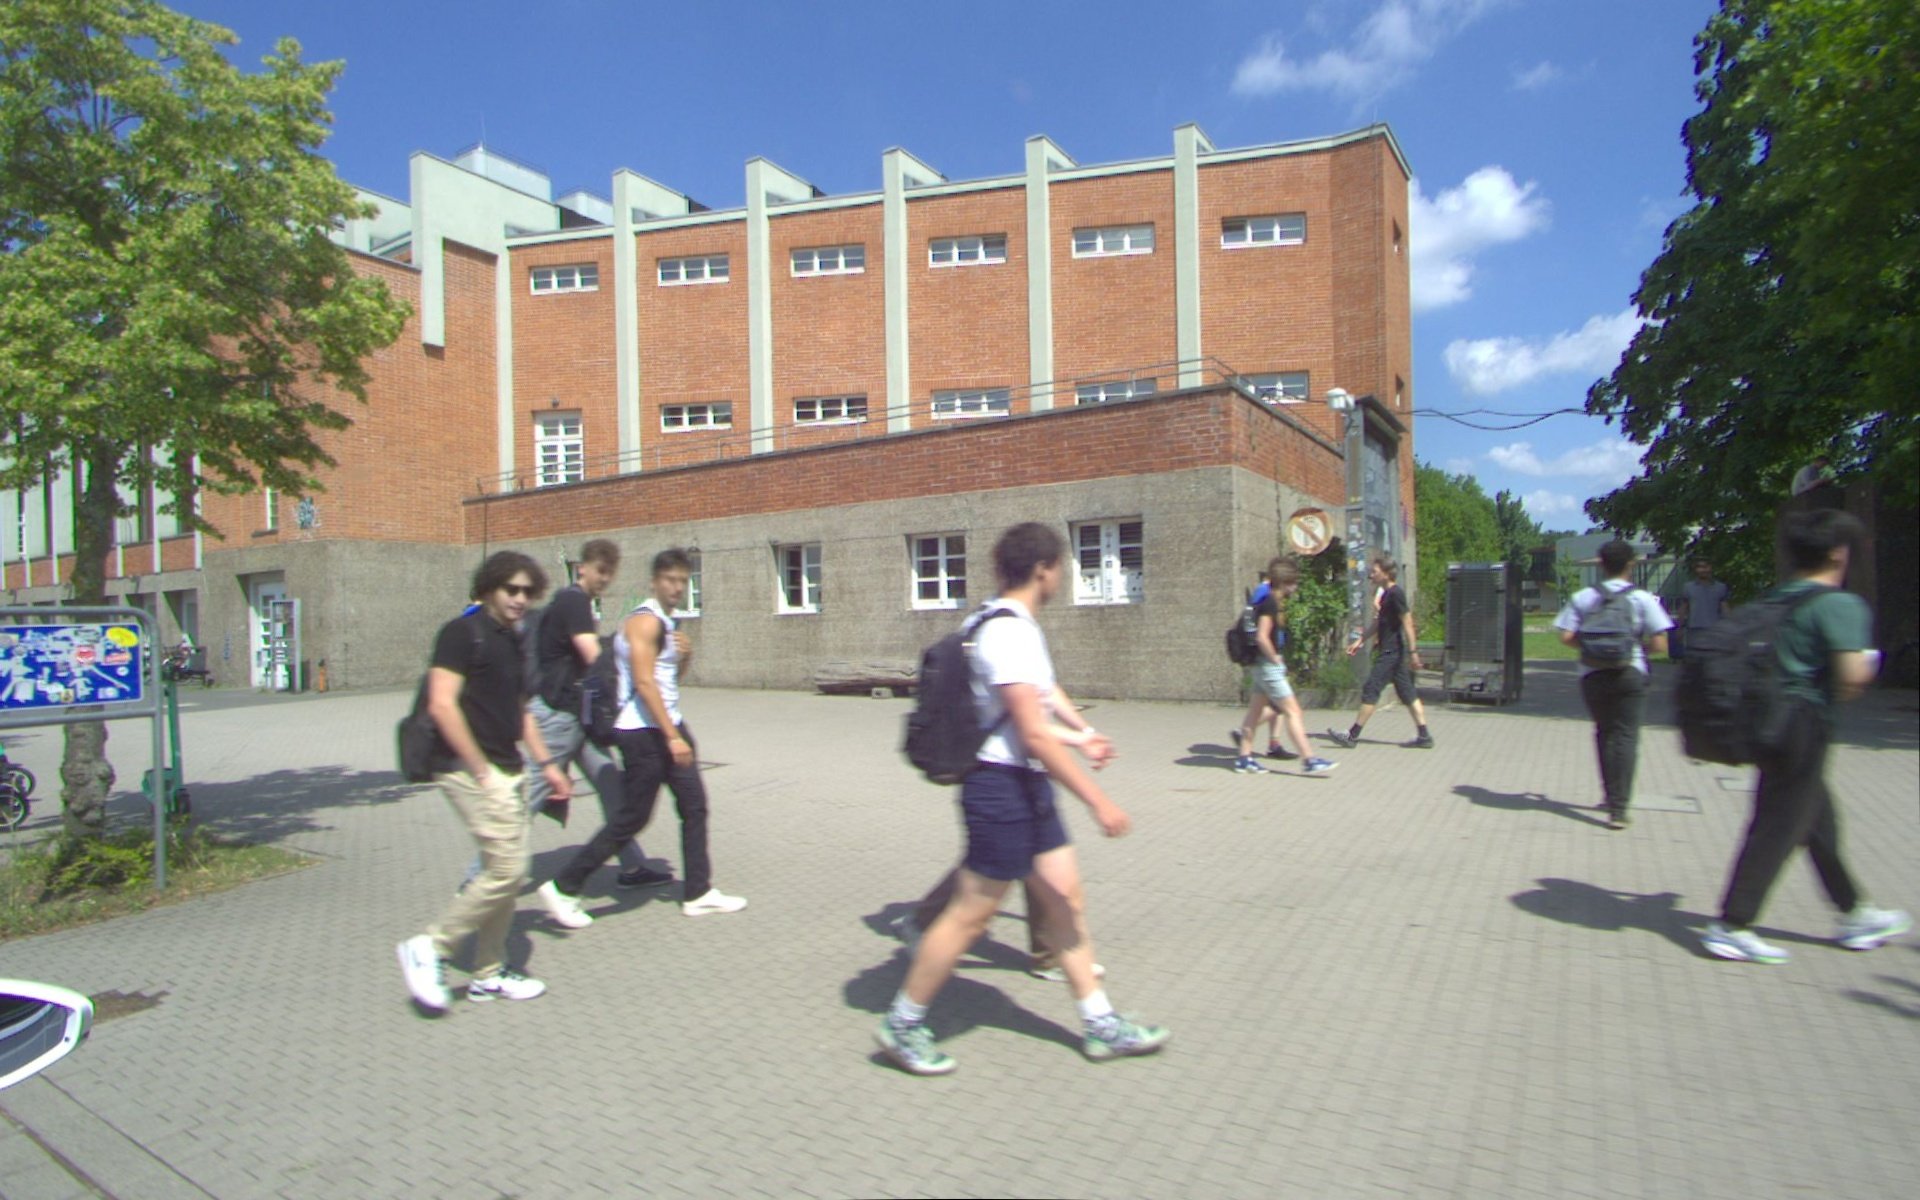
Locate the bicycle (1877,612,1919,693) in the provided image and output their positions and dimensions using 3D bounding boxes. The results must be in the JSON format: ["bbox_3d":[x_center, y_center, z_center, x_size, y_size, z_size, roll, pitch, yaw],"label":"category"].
[{"bbox_3d":[14.432,0.743,14.216,1.998,1.154,0.572,-1,-1,33],"label":"bicycle"}]

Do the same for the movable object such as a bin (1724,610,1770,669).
[{"bbox_3d":[18.134,0.900,23.092,0.757,1.337,0.780,0,-1,33],"label":"movable object such as a bin"}]

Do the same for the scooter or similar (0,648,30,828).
[{"bbox_3d":[-7.510,1.001,7.053,1.245,1.281,0.648,-1,0,-25],"label":"scooter or similar"}]

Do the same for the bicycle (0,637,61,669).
[{"bbox_3d":[-31.671,1.774,33.841,0.552,0.998,1.805,-1,1,32],"label":"bicycle"}]

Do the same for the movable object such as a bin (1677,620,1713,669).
[{"bbox_3d":[20.644,1.241,28.123,0.757,1.337,0.780,0,-1,33],"label":"movable object such as a bin"}]

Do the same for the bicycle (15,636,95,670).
[{"bbox_3d":[-29.048,1.687,32.180,0.552,0.998,1.805,-1,1,32],"label":"bicycle"}]

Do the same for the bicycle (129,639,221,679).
[{"bbox_3d":[-20.483,1.530,26.173,0.552,0.924,1.805,-1,0,32],"label":"bicycle"}]

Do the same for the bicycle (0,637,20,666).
[{"bbox_3d":[-34.243,1.821,35.073,0.552,0.998,1.805,-1,1,32],"label":"bicycle"}]

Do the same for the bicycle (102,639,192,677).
[{"bbox_3d":[-22.287,1.584,27.488,0.552,0.924,1.805,-1,0,32],"label":"bicycle"}]

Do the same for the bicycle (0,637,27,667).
[{"bbox_3d":[-33.651,1.823,34.709,0.552,0.998,1.805,-1,1,32],"label":"bicycle"}]

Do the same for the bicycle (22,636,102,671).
[{"bbox_3d":[-28.531,1.681,31.849,0.552,0.998,1.805,-1,1,32],"label":"bicycle"}]

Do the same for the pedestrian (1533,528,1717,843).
[{"bbox_3d":[4.034,0.482,6.161,0.699,1.739,1.105,-2,1,23],"label":"pedestrian"}]

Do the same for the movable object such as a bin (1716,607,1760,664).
[{"bbox_3d":[18.647,0.843,24.018,0.757,1.337,0.780,0,-1,33],"label":"movable object such as a bin"}]

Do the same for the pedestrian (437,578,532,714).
[{"bbox_3d":[-6.983,0.656,14.724,0.976,1.918,0.701,-1,3,20],"label":"pedestrian"}]

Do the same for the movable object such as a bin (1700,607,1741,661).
[{"bbox_3d":[19.274,0.857,25.384,0.757,1.337,0.780,0,-1,33],"label":"movable object such as a bin"}]

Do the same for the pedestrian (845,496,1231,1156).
[{"bbox_3d":[0.213,0.593,3.150,0.966,1.762,0.699,-2,1,-18],"label":"pedestrian"}]

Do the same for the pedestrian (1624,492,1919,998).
[{"bbox_3d":[3.277,0.489,3.871,0.975,1.743,0.703,-1,1,-11],"label":"pedestrian"}]

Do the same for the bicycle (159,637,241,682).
[{"bbox_3d":[-19.045,1.481,25.119,0.552,1.047,1.531,-1,0,32],"label":"bicycle"}]

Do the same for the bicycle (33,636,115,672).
[{"bbox_3d":[-27.556,1.660,31.175,0.552,0.998,1.805,-1,1,32],"label":"bicycle"}]

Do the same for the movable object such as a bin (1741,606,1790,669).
[{"bbox_3d":[17.461,0.802,21.723,0.757,1.337,0.780,0,-1,33],"label":"movable object such as a bin"}]

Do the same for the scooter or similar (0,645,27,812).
[{"bbox_3d":[-8.056,1.004,7.615,1.245,1.281,0.648,-1,0,-25],"label":"scooter or similar"}]

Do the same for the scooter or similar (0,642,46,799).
[{"bbox_3d":[-8.552,1.013,8.327,1.245,1.281,0.637,-1,0,-25],"label":"scooter or similar"}]

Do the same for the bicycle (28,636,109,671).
[{"bbox_3d":[-28.032,1.668,31.505,0.552,0.998,1.805,-1,1,32],"label":"bicycle"}]

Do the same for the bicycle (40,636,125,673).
[{"bbox_3d":[-25.969,1.598,29.659,0.552,0.998,1.805,-1,1,32],"label":"bicycle"}]

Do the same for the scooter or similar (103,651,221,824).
[{"bbox_3d":[-6.170,1.000,7.722,0.644,1.175,1.253,-1,0,-41],"label":"scooter or similar"}]

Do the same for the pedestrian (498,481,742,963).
[{"bbox_3d":[-1.506,0.521,4.539,0.813,2.006,0.618,-2,0,2],"label":"pedestrian"}]

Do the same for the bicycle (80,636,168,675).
[{"bbox_3d":[-23.732,1.564,28.457,0.552,0.998,1.805,-1,1,32],"label":"bicycle"}]

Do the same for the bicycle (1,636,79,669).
[{"bbox_3d":[-30.594,1.740,33.332,0.552,0.998,1.805,-1,1,32],"label":"bicycle"}]

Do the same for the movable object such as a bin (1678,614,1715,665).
[{"bbox_3d":[19.951,1.066,27.141,0.757,1.337,0.780,0,-1,33],"label":"movable object such as a bin"}]

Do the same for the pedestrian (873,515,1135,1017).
[{"bbox_3d":[0.138,0.583,3.911,0.891,1.762,0.678,-1,1,-8],"label":"pedestrian"}]

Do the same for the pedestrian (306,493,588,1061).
[{"bbox_3d":[-1.902,0.558,3.724,0.792,1.796,0.850,-2,1,-31],"label":"pedestrian"}]

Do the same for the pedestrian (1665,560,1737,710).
[{"bbox_3d":[9.861,0.440,13.330,0.723,1.909,0.828,0,4,40],"label":"pedestrian"}]

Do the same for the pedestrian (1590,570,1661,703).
[{"bbox_3d":[9.224,0.493,13.871,0.723,1.761,0.829,-1,0,40],"label":"pedestrian"}]

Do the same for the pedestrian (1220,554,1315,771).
[{"bbox_3d":[2.720,0.528,8.837,0.740,1.811,0.708,0,0,22],"label":"pedestrian"}]

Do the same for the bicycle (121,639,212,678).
[{"bbox_3d":[-21.104,1.552,26.672,0.552,0.924,1.805,-1,0,32],"label":"bicycle"}]

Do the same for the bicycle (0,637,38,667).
[{"bbox_3d":[-32.919,1.795,34.336,0.552,0.998,1.805,-1,1,32],"label":"bicycle"}]

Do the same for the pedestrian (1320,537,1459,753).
[{"bbox_3d":[3.949,0.417,9.273,1.058,1.892,0.761,-3,1,21],"label":"pedestrian"}]

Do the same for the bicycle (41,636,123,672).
[{"bbox_3d":[-27.040,1.661,30.880,0.552,0.998,1.805,-1,1,32],"label":"bicycle"}]

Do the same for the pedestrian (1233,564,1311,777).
[{"bbox_3d":[2.539,0.555,8.132,0.561,1.652,0.502,0,0,22],"label":"pedestrian"}]

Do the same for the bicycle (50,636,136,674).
[{"bbox_3d":[-25.415,1.590,29.372,0.552,0.998,1.805,-1,1,32],"label":"bicycle"}]

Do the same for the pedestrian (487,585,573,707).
[{"bbox_3d":[-6.648,0.696,15.508,0.977,1.828,0.701,-1,1,22],"label":"pedestrian"}]

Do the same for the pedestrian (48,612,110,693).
[{"bbox_3d":[-21.012,1.243,23.886,1.100,1.884,0.788,-1,0,31],"label":"pedestrian"}]

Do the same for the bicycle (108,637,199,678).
[{"bbox_3d":[-21.717,1.525,26.994,0.552,0.998,1.805,-1,1,32],"label":"bicycle"}]

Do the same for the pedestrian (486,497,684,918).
[{"bbox_3d":[-1.981,0.510,5.270,0.817,2.007,0.688,-2,1,-31],"label":"pedestrian"}]
